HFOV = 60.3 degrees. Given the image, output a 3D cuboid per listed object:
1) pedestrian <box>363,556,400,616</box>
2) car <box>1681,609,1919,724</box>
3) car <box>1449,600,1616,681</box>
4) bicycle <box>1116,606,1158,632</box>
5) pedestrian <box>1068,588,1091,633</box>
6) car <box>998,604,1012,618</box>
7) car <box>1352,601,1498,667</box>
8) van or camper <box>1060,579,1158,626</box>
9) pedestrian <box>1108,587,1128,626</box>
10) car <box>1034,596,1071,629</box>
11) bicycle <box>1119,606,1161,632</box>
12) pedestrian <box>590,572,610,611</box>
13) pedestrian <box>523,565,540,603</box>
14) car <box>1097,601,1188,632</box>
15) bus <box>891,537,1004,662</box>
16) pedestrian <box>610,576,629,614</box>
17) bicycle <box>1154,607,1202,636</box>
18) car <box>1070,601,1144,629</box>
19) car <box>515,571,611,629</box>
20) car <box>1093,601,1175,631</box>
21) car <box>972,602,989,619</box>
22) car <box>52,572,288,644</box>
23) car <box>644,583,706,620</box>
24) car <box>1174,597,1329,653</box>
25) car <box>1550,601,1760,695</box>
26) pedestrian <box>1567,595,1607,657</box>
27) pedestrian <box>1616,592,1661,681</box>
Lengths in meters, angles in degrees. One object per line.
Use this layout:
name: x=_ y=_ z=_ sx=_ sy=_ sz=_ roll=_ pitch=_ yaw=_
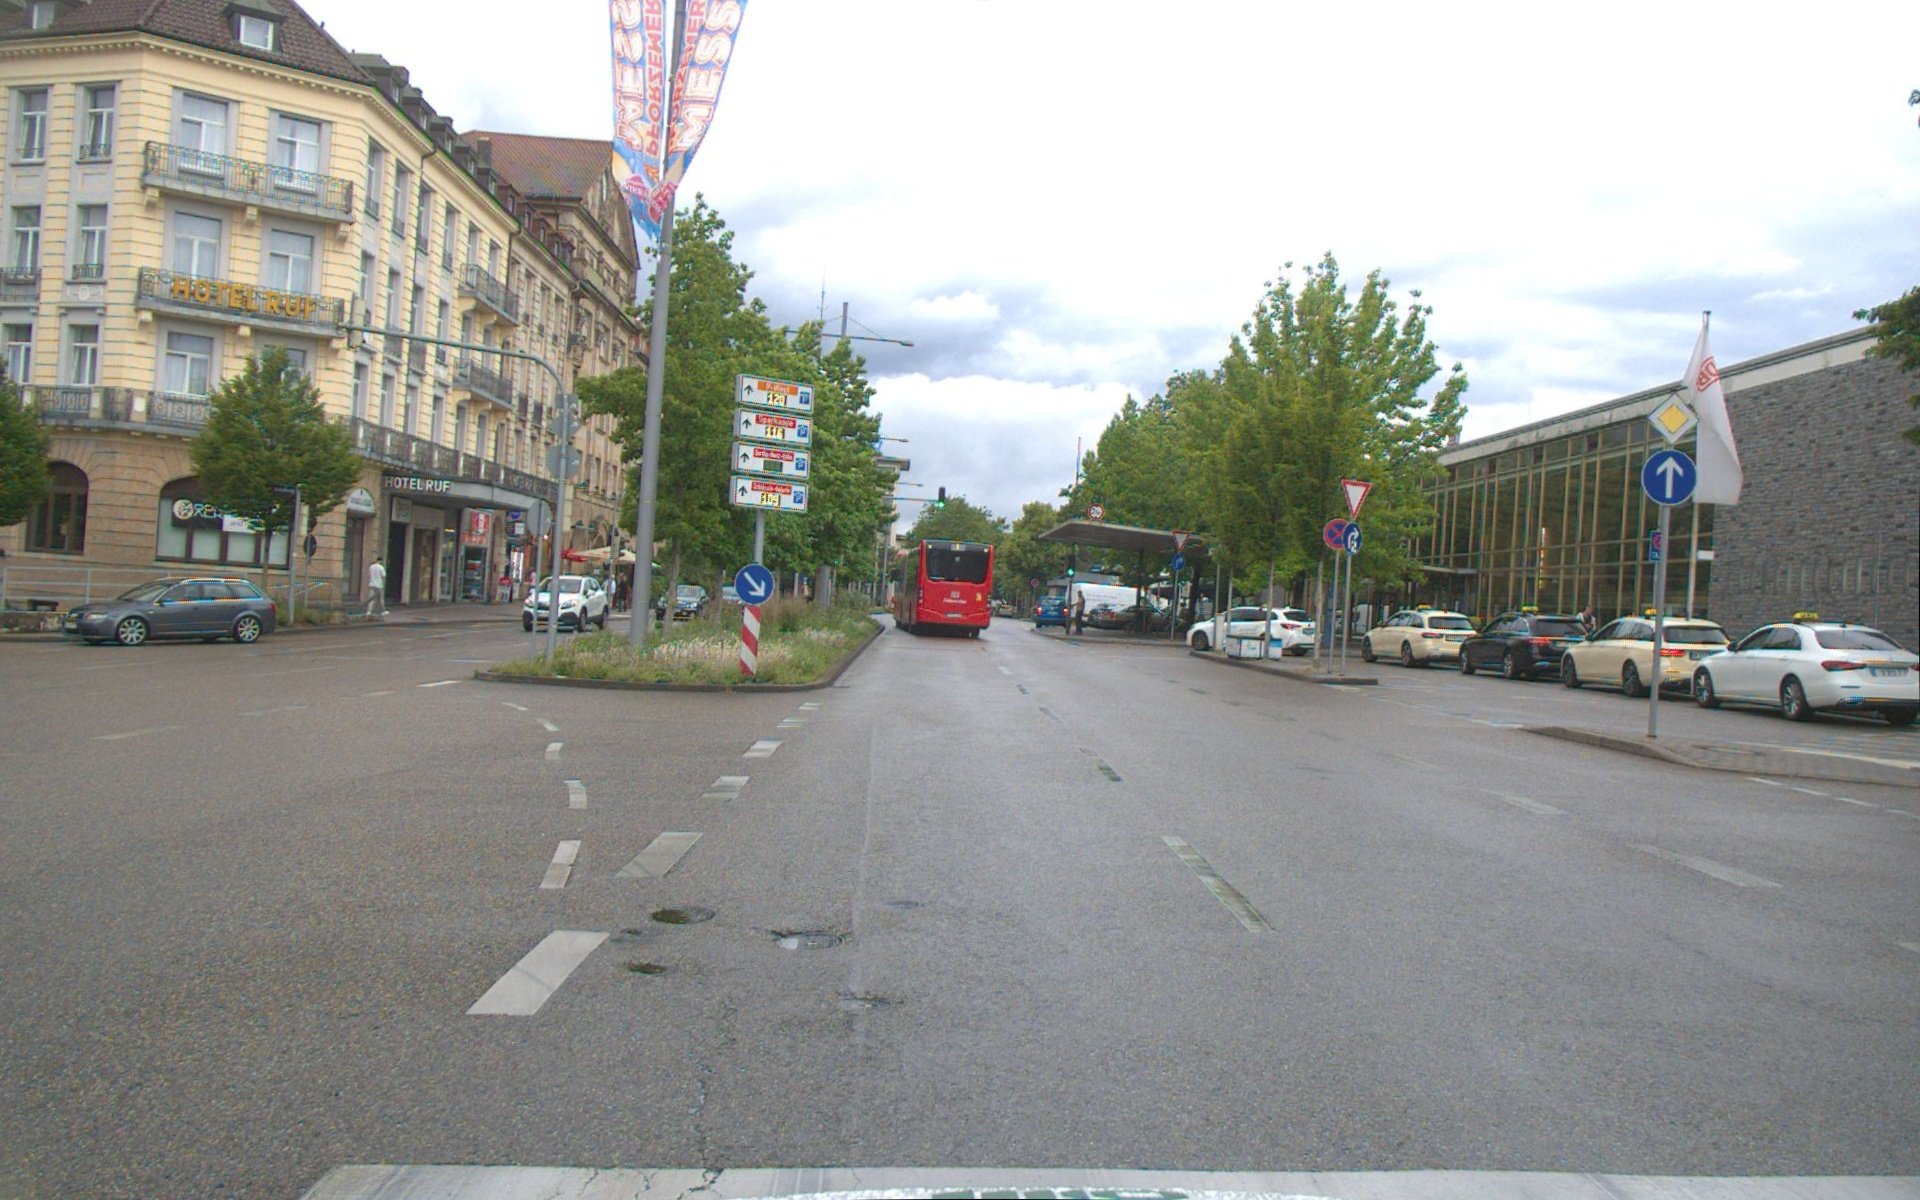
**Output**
pedestrian: x=-18.024 y=-0.430 z=51.528 sx=0.861 sy=1.844 sz=0.750 roll=1 pitch=-1 yaw=-1
car: x=13.458 y=0.972 z=26.272 sx=1.841 sy=1.627 sz=4.902 roll=1 pitch=0 yaw=-1
car: x=13.166 y=0.879 z=38.366 sx=1.953 sy=1.627 sz=4.956 roll=3 pitch=0 yaw=-2
bicycle: x=7.702 y=0.829 z=72.090 sx=1.800 sy=1.074 sz=0.418 roll=1 pitch=-1 yaw=-19
pedestrian: x=4.824 y=0.426 z=66.940 sx=0.732 sy=1.777 sz=0.834 roll=2 pitch=-1 yaw=-9
car: x=5.733 y=1.382 z=211.737 sx=1.611 sy=1.690 sz=3.649 roll=1 pitch=0 yaw=-1
car: x=12.517 y=0.887 z=44.887 sx=1.956 sy=1.627 sz=4.949 roll=1 pitch=0 yaw=-8
van or camper: x=9.291 y=0.180 z=102.928 sx=5.878 sy=2.811 sz=2.178 roll=1 pitch=0 yaw=-28
pedestrian: x=7.774 y=0.338 z=81.469 sx=0.839 sy=1.867 sz=1.189 roll=2 pitch=-1 yaw=-1
car: x=4.769 y=0.660 z=85.495 sx=1.820 sy=1.596 sz=4.001 roll=2 pitch=-1 yaw=3
bicycle: x=7.818 y=0.829 z=71.645 sx=1.800 sy=1.074 sz=0.418 roll=1 pitch=-1 yaw=-19
pedestrian: x=-16.110 y=-0.381 z=74.081 sx=0.667 sy=1.693 sz=0.807 roll=1 pitch=-1 yaw=2
pedestrian: x=-19.258 y=-0.725 z=74.357 sx=0.654 sy=1.693 sz=0.535 roll=1 pitch=-1 yaw=-9
car: x=9.086 y=0.827 z=82.455 sx=4.125 sy=1.348 sz=1.829 roll=3 pitch=-1 yaw=-21
bus: x=-0.649 y=-0.002 z=59.816 sx=3.474 sy=4.049 sz=11.163 roll=1 pitch=0 yaw=-3
pedestrian: x=-15.269 y=-0.224 z=74.100 sx=0.667 sy=1.693 sz=0.807 roll=1 pitch=-1 yaw=-1
bicycle: x=8.324 y=0.808 z=63.149 sx=1.790 sy=1.074 sz=0.420 roll=1 pitch=-1 yaw=-1
car: x=8.590 y=0.877 z=96.858 sx=3.940 sy=1.468 sz=1.848 roll=3 pitch=-1 yaw=-28
car: x=-11.875 y=0.002 z=49.720 sx=1.916 sy=1.646 sz=4.207 roll=1 pitch=0 yaw=-1
car: x=9.057 y=0.840 z=86.121 sx=3.947 sy=1.383 sz=1.845 roll=3 pitch=-1 yaw=-32
car: x=1.954 y=1.016 z=157.156 sx=1.562 sy=1.588 sz=3.649 roll=1 pitch=0 yaw=-1
car: x=-17.369 y=0.188 z=36.554 sx=1.666 sy=1.491 sz=4.434 roll=1 pitch=0 yaw=36
car: x=-11.766 y=0.067 z=68.417 sx=1.916 sy=1.447 sz=3.999 roll=1 pitch=0 yaw=-1
car: x=9.010 y=0.762 z=51.426 sx=1.747 sy=1.573 sz=4.708 roll=2 pitch=-1 yaw=-40
car: x=13.358 y=0.861 z=32.177 sx=1.953 sy=1.627 sz=4.958 roll=1 pitch=0 yaw=-1
pedestrian: x=16.717 y=0.692 z=44.077 sx=0.753 sy=1.607 sz=0.710 roll=1 pitch=-1 yaw=-5
pedestrian: x=17.107 y=0.913 z=41.719 sx=0.780 sy=2.202 sz=0.721 roll=1 pitch=-1 yaw=-8
